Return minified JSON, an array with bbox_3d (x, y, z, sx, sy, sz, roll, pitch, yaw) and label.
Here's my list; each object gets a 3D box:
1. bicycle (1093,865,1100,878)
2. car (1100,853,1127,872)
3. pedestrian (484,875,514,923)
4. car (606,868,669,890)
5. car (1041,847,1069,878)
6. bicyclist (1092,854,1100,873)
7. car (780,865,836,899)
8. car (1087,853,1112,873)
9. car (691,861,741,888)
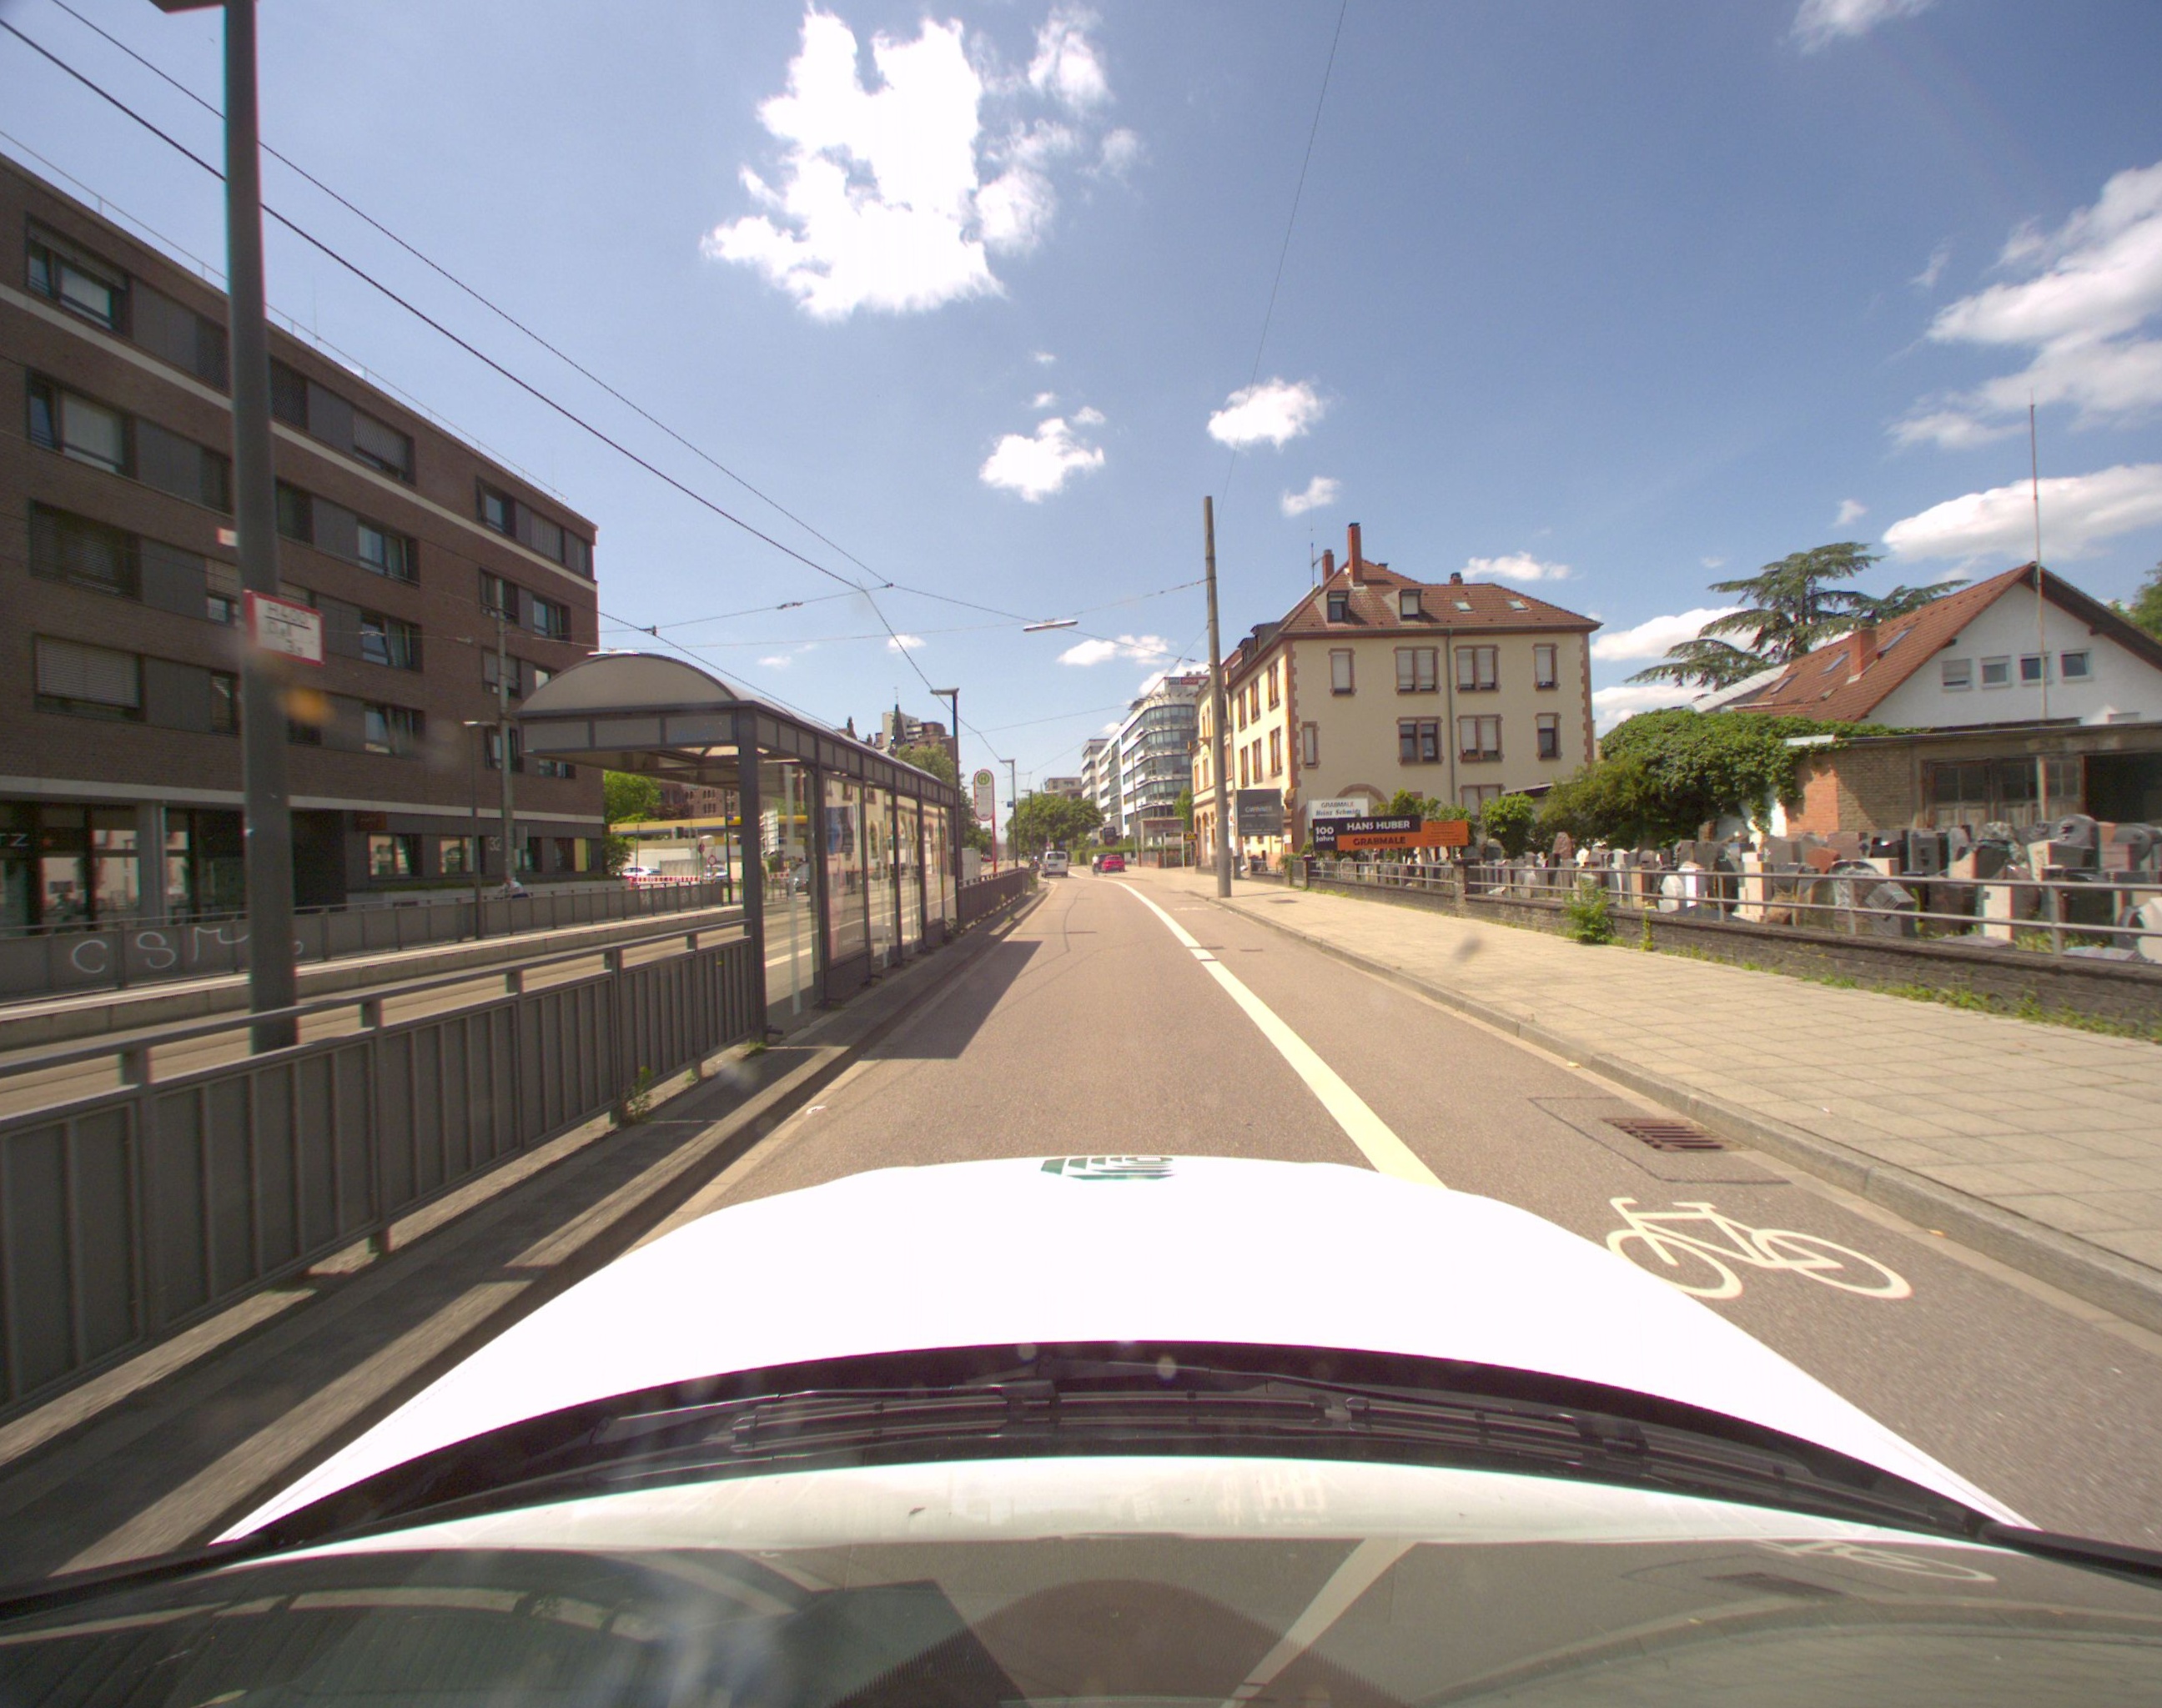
[{"bbox_3d":[1.117,1.244,59.126,0.464,0.887,2.047,-2,0,-1],"label":"bicycle"},{"bbox_3d":[2.710,0.716,69.291,1.709,1.452,4.065,-4,0,-5],"label":"car"},{"bbox_3d":[-17.408,1.346,24.372,0.433,1.384,0.536,-4,-1,2],"label":"pedestrian"},{"bbox_3d":[-33.039,1.872,60.623,3.972,1.463,1.767,-2,0,16],"label":"car"},{"bbox_3d":[-1.920,0.590,58.618,1.749,2.013,3.994,-3,1,-4],"label":"car"},{"bbox_3d":[1.078,0.674,58.971,0.589,1.397,0.841,-2,0,1],"label":"bicyclist"},{"bbox_3d":[-14.376,1.450,43.112,1.694,1.616,3.756,-3,0,-2],"label":"car"},{"bbox_3d":[1.667,0.770,75.549,1.859,1.687,4.995,-3,0,-2],"label":"car"},{"bbox_3d":[-25.696,1.451,57.274,2.069,1.567,3.952,-4,-2,-40],"label":"car"}]
